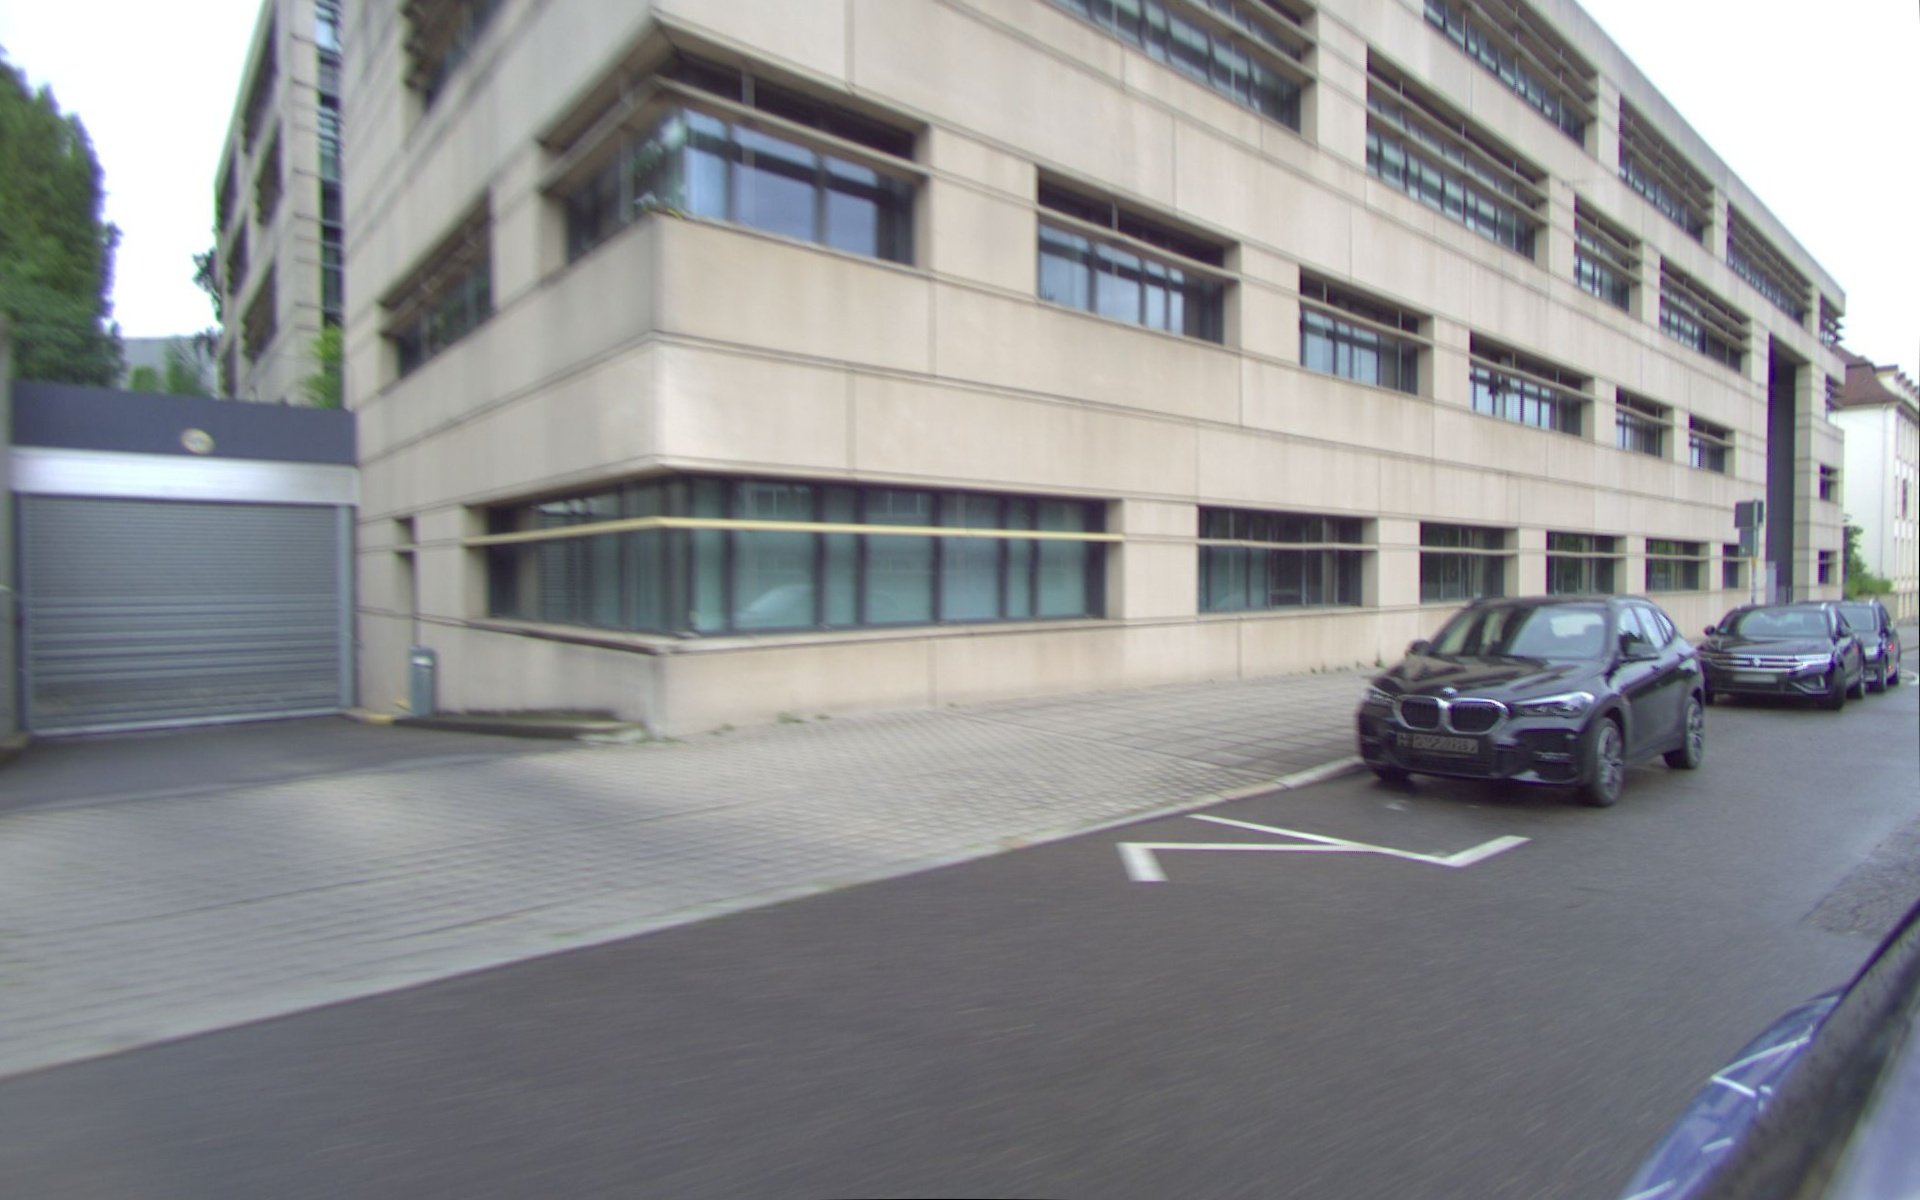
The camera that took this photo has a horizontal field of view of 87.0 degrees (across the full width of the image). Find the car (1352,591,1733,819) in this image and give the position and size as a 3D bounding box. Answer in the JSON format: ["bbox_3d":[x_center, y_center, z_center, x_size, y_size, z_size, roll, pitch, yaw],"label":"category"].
[{"bbox_3d":[5.339,0.712,9.022,4.246,1.553,1.745,-1,0,-43],"label":"car"}]

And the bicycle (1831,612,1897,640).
[{"bbox_3d":[32.995,0.934,36.941,0.649,0.965,1.760,0,1,-43],"label":"bicycle"}]

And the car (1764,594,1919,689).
[{"bbox_3d":[17.046,0.708,19.489,4.320,1.624,1.773,-1,0,-43],"label":"car"}]

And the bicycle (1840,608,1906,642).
[{"bbox_3d":[32.498,0.880,36.035,1.729,1.133,0.649,1,1,45],"label":"bicycle"}]

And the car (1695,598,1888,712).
[{"bbox_3d":[13.293,0.791,16.101,3.988,1.531,1.727,-1,-1,-42],"label":"car"}]
